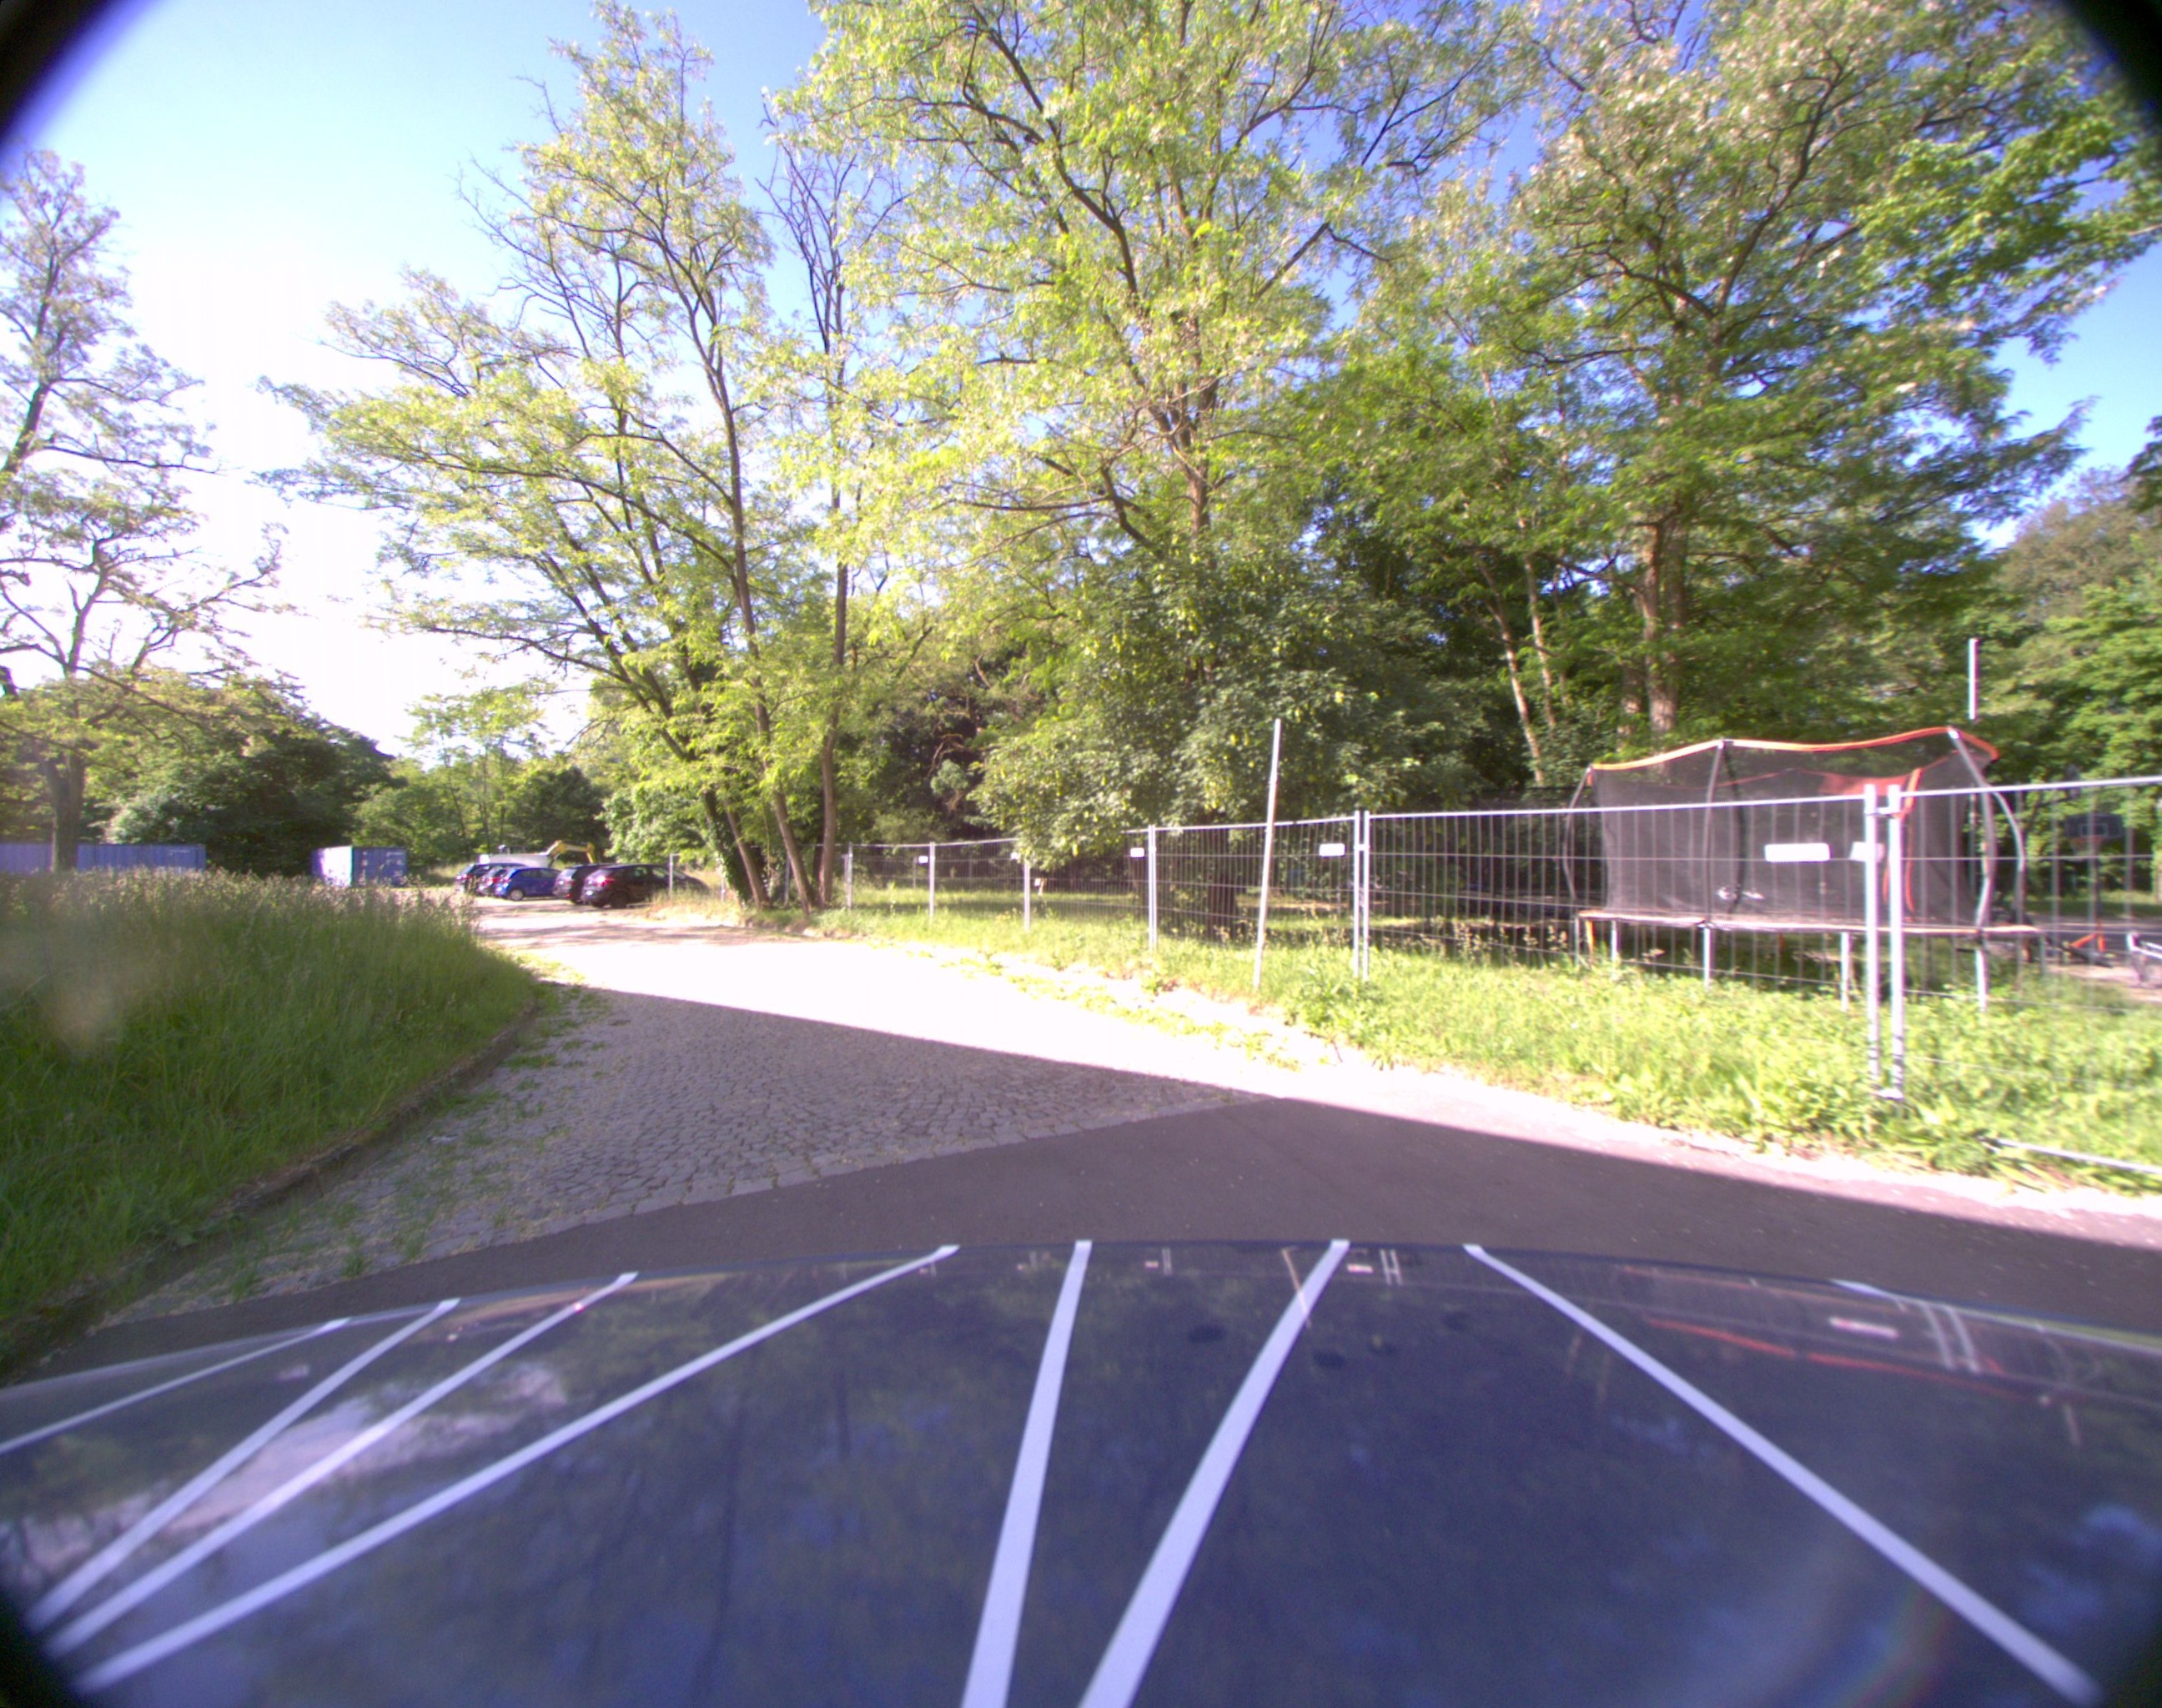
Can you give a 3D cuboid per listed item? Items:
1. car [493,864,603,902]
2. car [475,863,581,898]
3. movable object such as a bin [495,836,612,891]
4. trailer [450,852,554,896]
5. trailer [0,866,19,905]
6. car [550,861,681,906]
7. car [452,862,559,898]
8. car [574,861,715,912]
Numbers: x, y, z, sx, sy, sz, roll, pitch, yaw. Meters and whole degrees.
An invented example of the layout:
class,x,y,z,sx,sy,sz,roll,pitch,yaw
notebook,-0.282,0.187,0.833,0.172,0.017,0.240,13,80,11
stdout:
class,x,y,z,sx,sy,sz,roll,pitch,yaw
car,-23.933,1.250,34.191,1.709,1.485,3.670,0,2,41
car,-25.966,1.209,35.757,1.829,1.443,3.671,0,1,39
movable object such as a bin,-29.990,0.532,43.368,1.994,2.948,5.176,0,0,43
trailer,-29.908,0.977,39.357,1.634,2.082,3.981,0,1,39
trailer,-46.962,1.323,29.501,2.847,1.509,6.507,1,1,38
car,-19.203,1.153,31.503,1.812,1.646,4.199,0,1,38
car,-28.019,1.233,37.084,1.862,1.631,3.829,0,0,41
car,-16.754,1.181,29.387,1.788,1.643,4.308,0,2,34
